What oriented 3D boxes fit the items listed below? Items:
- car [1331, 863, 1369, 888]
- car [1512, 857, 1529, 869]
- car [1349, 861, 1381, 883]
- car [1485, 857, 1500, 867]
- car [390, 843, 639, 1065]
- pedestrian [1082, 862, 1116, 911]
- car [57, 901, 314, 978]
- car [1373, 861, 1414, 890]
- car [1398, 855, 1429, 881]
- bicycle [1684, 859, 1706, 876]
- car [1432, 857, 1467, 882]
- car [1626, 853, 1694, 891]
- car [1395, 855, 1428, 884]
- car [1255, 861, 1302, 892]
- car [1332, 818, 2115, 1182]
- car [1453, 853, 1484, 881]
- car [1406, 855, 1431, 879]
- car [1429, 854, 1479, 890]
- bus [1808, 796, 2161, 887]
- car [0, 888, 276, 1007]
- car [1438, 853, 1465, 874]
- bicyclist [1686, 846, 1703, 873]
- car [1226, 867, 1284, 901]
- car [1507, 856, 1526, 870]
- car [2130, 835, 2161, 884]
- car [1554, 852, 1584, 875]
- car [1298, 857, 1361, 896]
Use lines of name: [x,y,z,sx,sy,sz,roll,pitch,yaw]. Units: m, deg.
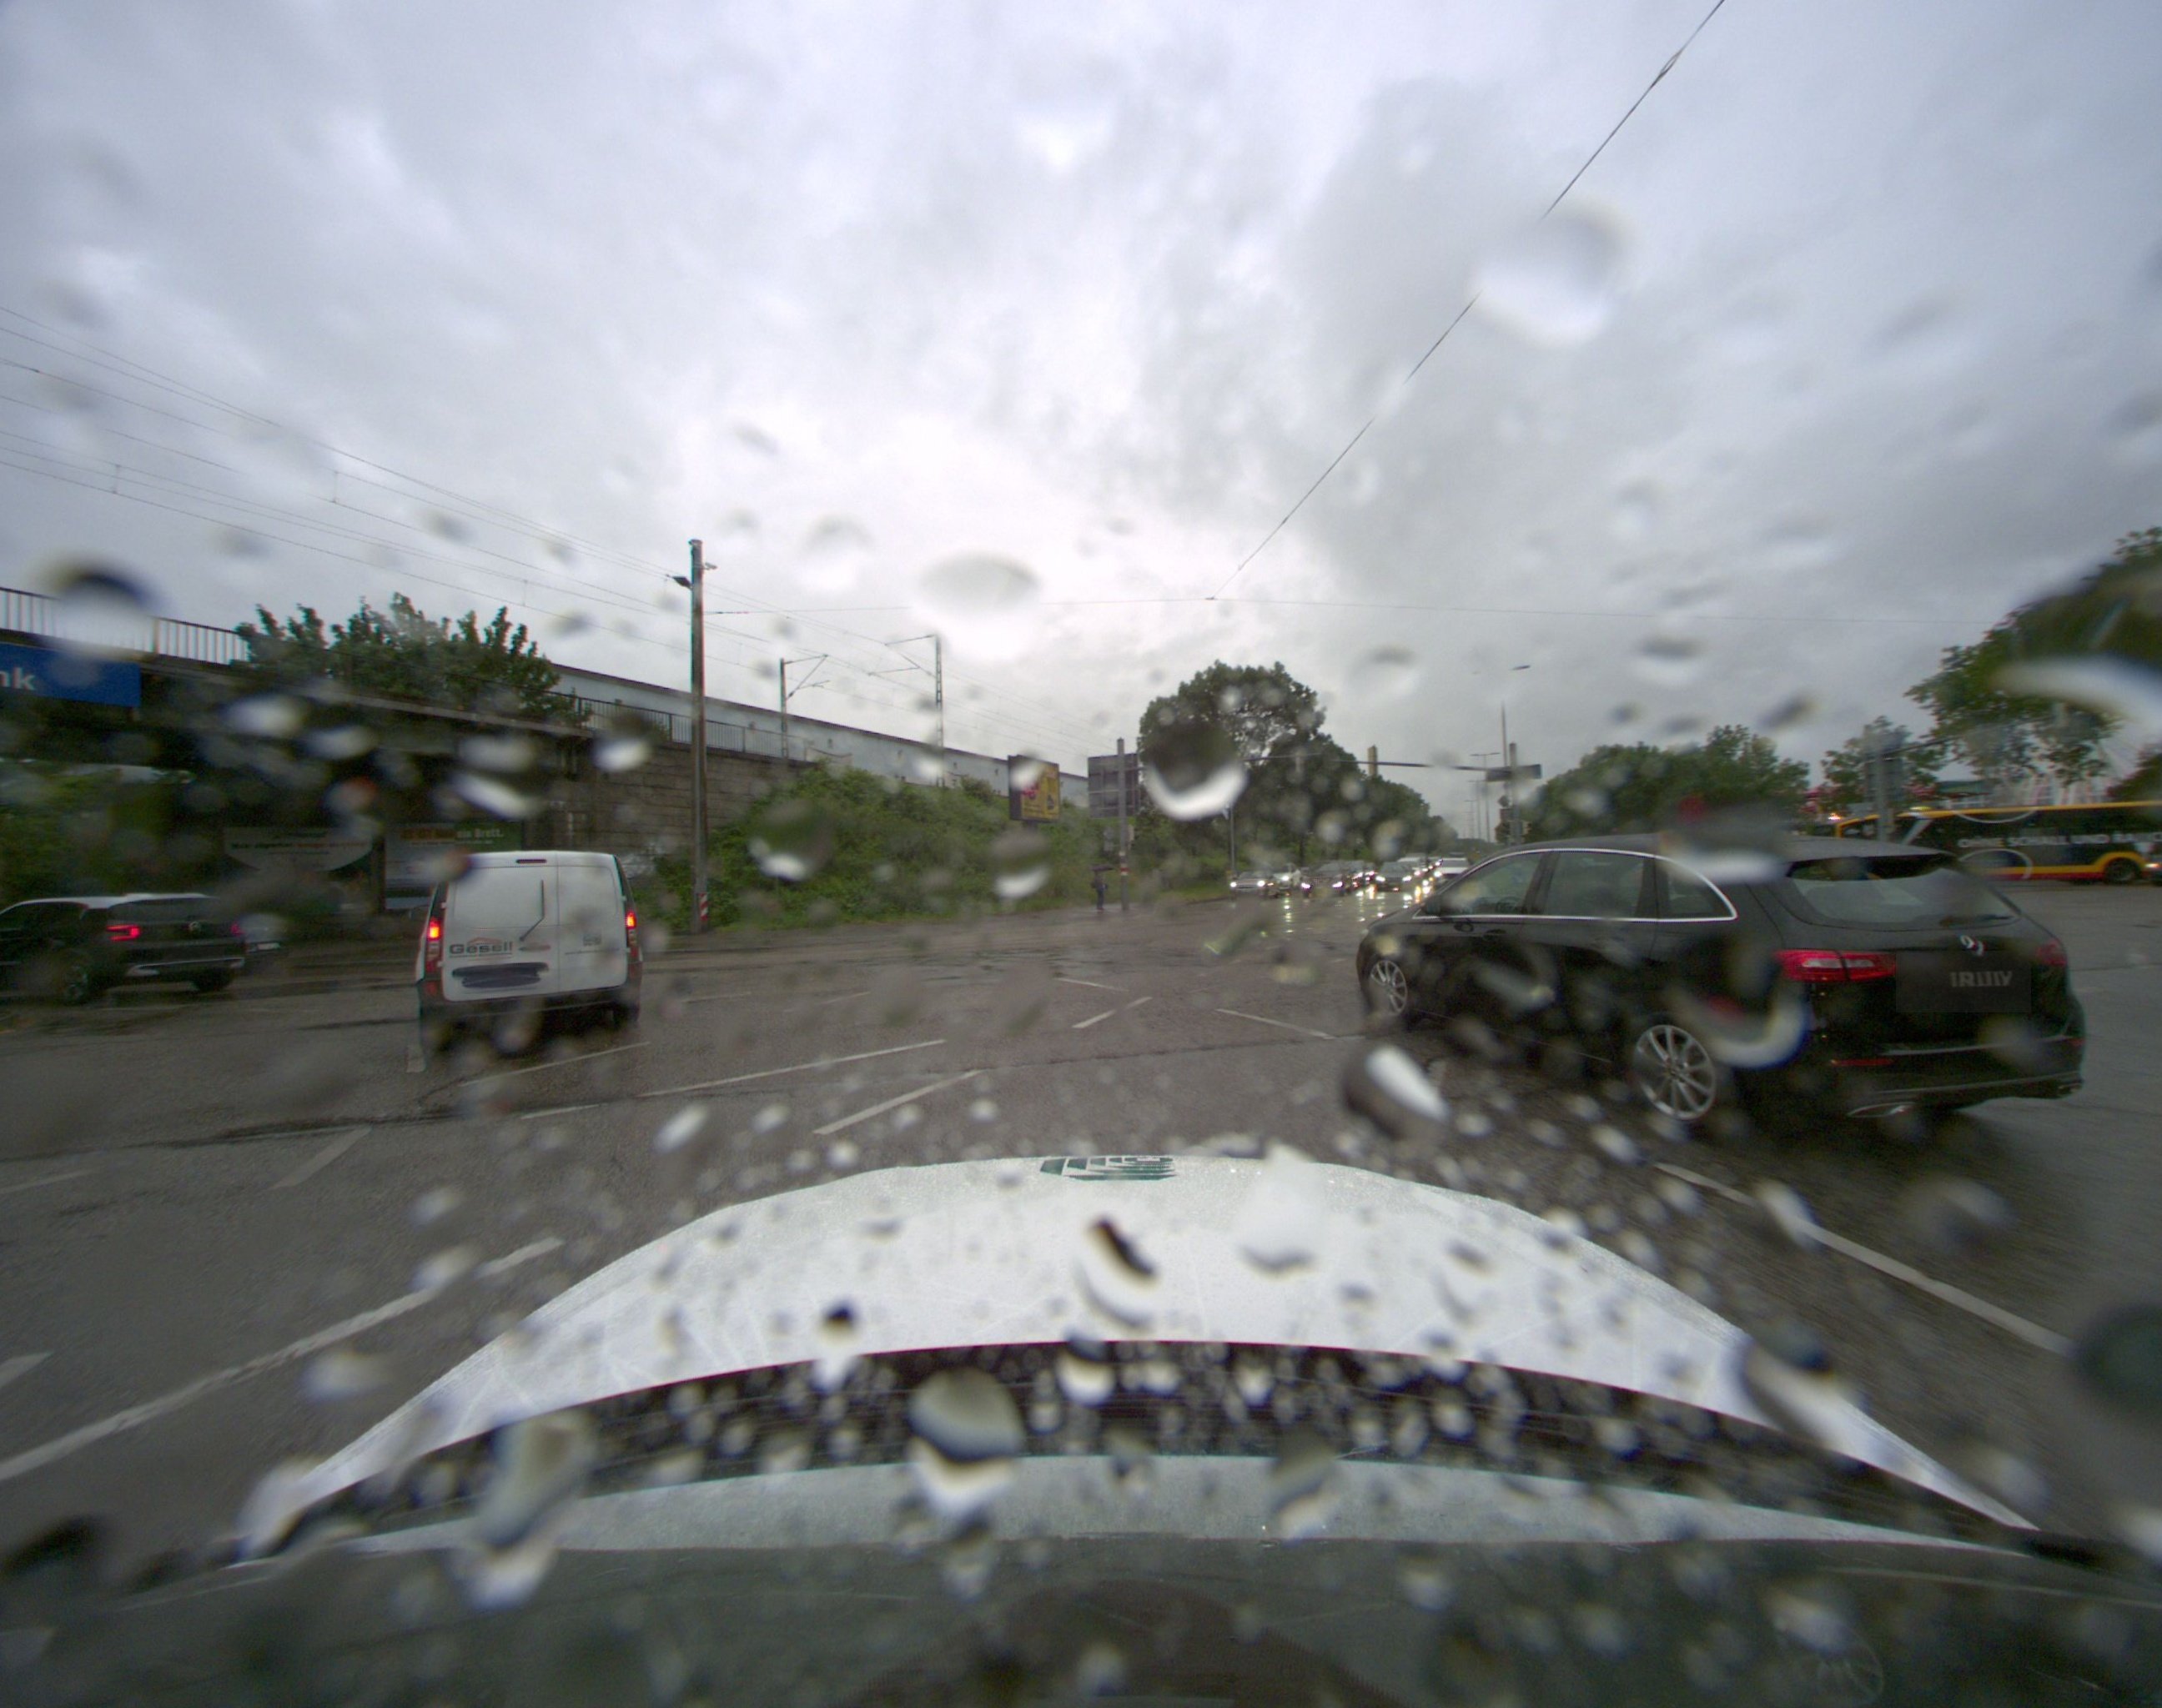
car: [16.299,1.279,49.224,1.811,1.358,4.022,-2,-1,23]
car: [62.523,1.213,115.941,1.978,1.618,4.024,-3,-1,28]
car: [19.445,1.191,55.729,1.811,1.358,4.021,-2,-1,22]
car: [68.003,1.279,134.696,1.978,1.618,4.023,-3,-1,24]
car: [-6.198,0.887,8.807,1.770,1.777,3.953,-2,-1,-39]
pedestrian: [0.668,1.186,29.844,0.994,1.719,0.823,-2,-1,17]
car: [-18.104,1.700,16.602,3.240,1.283,1.684,-2,-1,-3]
car: [16.364,1.089,42.794,1.812,1.358,4.019,-2,-1,19]
car: [23.828,0.983,58.358,1.828,1.720,4.023,-2,-1,25]
bicycle: [43.689,0.927,57.951,0.811,1.165,2.273,-3,-1,27]
car: [22.420,0.925,49.444,1.821,1.424,4.023,-2,-1,25]
car: [24.257,0.738,34.235,1.663,1.491,3.642,-1,-1,25]
car: [21.337,0.992,52.508,1.848,1.720,4.022,-2,-1,24]
car: [10.644,1.162,43.639,1.811,1.482,4.021,-2,-1,22]
car: [3.598,0.660,5.691,1.870,1.523,4.073,-2,-1,-9]
car: [25.248,0.841,53.155,1.586,1.720,4.021,-2,-1,22]
car: [26.023,0.997,62.743,1.639,1.720,4.023,-2,-1,24]
car: [19.763,0.937,43.060,2.149,1.720,4.328,-2,-1,27]
bus: [38.909,-0.447,34.105,12.140,3.268,3.293,-2,-1,23]
car: [-15.562,1.440,12.919,3.964,1.609,1.928,-2,-1,8]
car: [32.481,0.841,71.493,1.921,1.720,4.021,-2,-1,22]
bicyclist: [43.674,0.423,57.979,0.760,1.882,0.625,-3,-2,26]
car: [8.144,1.377,37.921,1.875,1.349,4.022,-2,-1,23]
car: [49.862,1.038,93.297,1.826,1.618,4.023,-1,0,26]
car: [38.435,0.113,27.540,4.331,1.651,1.925,-2,-1,-12]
car: [37.161,0.708,62.094,1.618,1.656,3.504,0,0,25]
car: [11.745,1.014,38.297,2.003,1.657,4.086,-2,-1,28]
